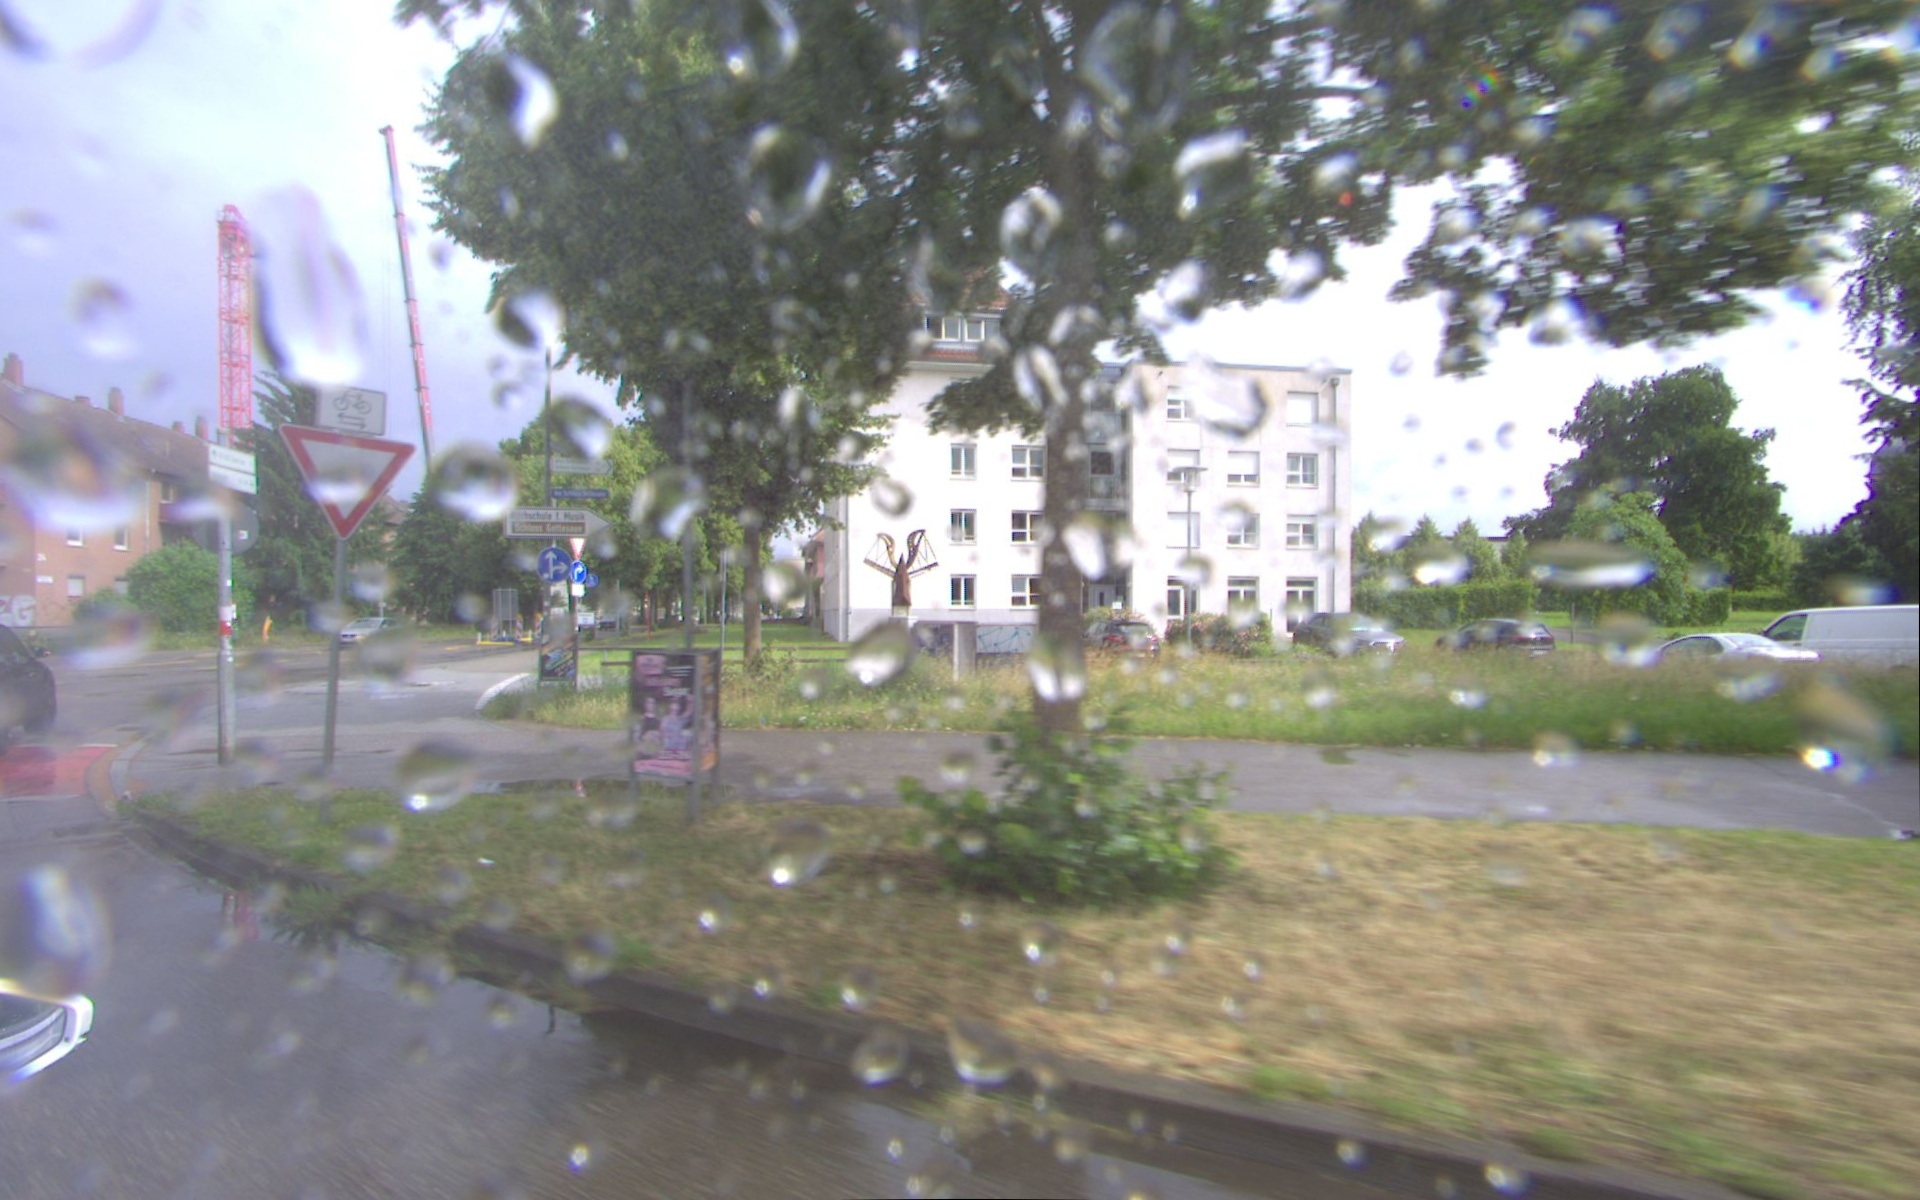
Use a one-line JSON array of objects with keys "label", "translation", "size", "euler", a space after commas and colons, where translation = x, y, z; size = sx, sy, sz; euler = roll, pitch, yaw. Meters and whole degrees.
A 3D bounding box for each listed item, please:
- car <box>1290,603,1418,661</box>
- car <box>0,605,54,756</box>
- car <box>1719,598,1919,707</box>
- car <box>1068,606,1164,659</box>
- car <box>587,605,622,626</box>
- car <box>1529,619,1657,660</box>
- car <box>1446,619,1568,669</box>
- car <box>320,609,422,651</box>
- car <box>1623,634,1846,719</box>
[{"label": "car", "translation": [12.315, 0.949, 31.594], "size": [1.817, 1.573, 4.100], "euler": [0, 2, -11]}, {"label": "car", "translation": [-12.200, 0.880, 11.729], "size": [1.880, 1.639, 3.972], "euler": [1, 0, -35]}, {"label": "car", "translation": [19.435, 1.019, 21.492], "size": [2.072, 2.085, 5.159], "euler": [-1, 0, -6]}, {"label": "car", "translation": [4.665, 0.936, 30.511], "size": [1.645, 1.502, 3.735], "euler": [0, 0, -12]}, {"label": "car", "translation": [-31.830, 1.369, 89.742], "size": [2.043, 1.755, 4.695], "euler": [2, 0, -9]}, {"label": "car", "translation": [20.786, 1.258, 33.069], "size": [1.632, 1.252, 3.579], "euler": [0, -1, -9]}, {"label": "car", "translation": [17.636, 1.377, 32.465], "size": [1.632, 1.364, 3.577], "euler": [0, 2, -8]}, {"label": "car", "translation": [-26.951, 1.331, 46.009], "size": [2.041, 1.755, 4.698], "euler": [2, 0, -3]}, {"label": "car", "translation": [15.840, 1.506, 20.723], "size": [1.578, 1.529, 3.620], "euler": [0, -1, -7]}]
